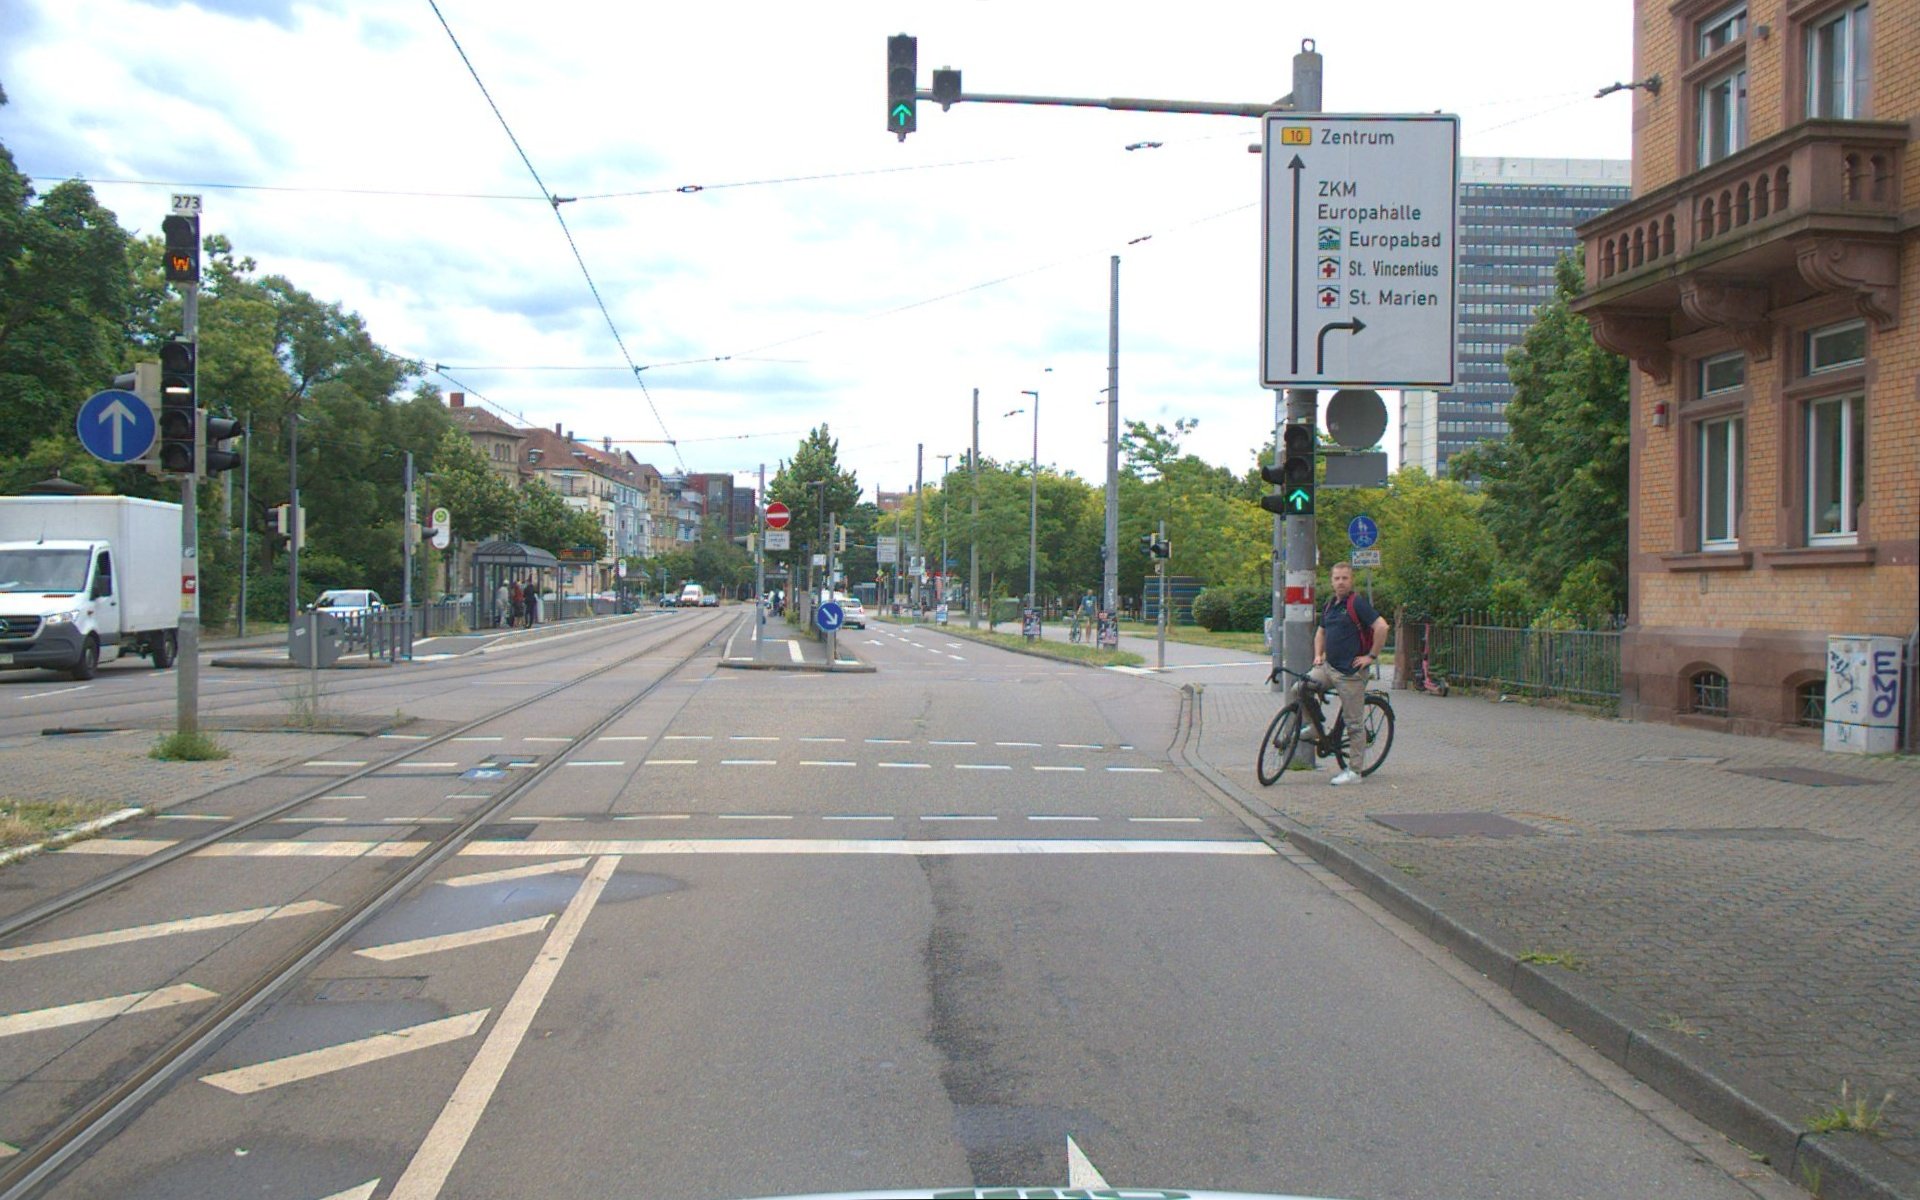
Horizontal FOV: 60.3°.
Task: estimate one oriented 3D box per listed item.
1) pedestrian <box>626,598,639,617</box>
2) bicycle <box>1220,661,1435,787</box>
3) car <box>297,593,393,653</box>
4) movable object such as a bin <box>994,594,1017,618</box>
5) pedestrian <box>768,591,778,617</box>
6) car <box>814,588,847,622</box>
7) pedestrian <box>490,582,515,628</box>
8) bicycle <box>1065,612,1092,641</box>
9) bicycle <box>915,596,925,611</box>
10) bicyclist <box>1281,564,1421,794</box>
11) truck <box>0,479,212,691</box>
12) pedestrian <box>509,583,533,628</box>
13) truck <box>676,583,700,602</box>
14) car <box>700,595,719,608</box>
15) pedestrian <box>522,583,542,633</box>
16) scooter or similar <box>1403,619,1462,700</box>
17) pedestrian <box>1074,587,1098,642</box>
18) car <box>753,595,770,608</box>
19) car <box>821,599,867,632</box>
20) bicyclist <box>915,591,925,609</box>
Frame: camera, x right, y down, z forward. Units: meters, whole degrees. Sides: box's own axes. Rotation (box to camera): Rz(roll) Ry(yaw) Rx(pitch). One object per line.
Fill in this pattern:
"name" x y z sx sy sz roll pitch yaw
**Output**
"pedestrian" -22.688 0.515 114.660 0.849 1.289 0.692 0 0 -9
"bicycle" 3.099 1.004 13.846 1.850 0.940 0.785 1 0 -39
"car" -18.066 0.644 48.784 1.737 1.668 4.528 1 0 -9
"movable object such as a bin" 2.731 0.340 99.726 1.257 1.414 1.157 1 0 -6
"pedestrian" -11.244 0.224 99.468 0.521 1.585 0.570 0 0 -3
"car" -7.813 0.279 99.654 1.749 1.997 4.375 1 0 -7
"pedestrian" -16.292 0.175 58.860 0.629 1.652 0.669 0 0 -44
"bicycle" 4.181 0.929 58.480 0.642 1.020 1.776 1 0 -7
"bicycle" -3.189 0.307 132.220 0.666 1.175 1.895 0 0 -6
"bicyclist" 3.230 0.625 13.687 0.675 1.826 0.879 1 0 -38
"truck" -15.151 -0.222 28.644 2.144 3.212 7.314 1 0 -10
"pedestrian" -16.475 0.195 62.056 0.754 1.689 1.022 0 0 -10
"truck" -30.208 -0.833 183.942 1.751 2.068 5.395 1 0 -1
"car" -29.829 0.237 197.091 1.734 1.519 3.886 1 0 -1
"pedestrian" -15.209 0.283 58.736 0.688 1.745 0.696 0 0 -15
"scooter or similar" 7.031 0.870 24.652 0.369 1.161 1.197 0 0 -9
"pedestrian" 4.452 0.511 58.384 0.725 1.902 0.681 0 0 -7
"car" -23.077 0.160 191.972 1.735 1.519 3.883 1 0 -4
"car" -5.593 0.710 79.347 1.750 1.498 4.000 1 0 -10
"bicyclist" -3.202 -0.012 132.227 0.666 1.404 0.726 0 0 -7
